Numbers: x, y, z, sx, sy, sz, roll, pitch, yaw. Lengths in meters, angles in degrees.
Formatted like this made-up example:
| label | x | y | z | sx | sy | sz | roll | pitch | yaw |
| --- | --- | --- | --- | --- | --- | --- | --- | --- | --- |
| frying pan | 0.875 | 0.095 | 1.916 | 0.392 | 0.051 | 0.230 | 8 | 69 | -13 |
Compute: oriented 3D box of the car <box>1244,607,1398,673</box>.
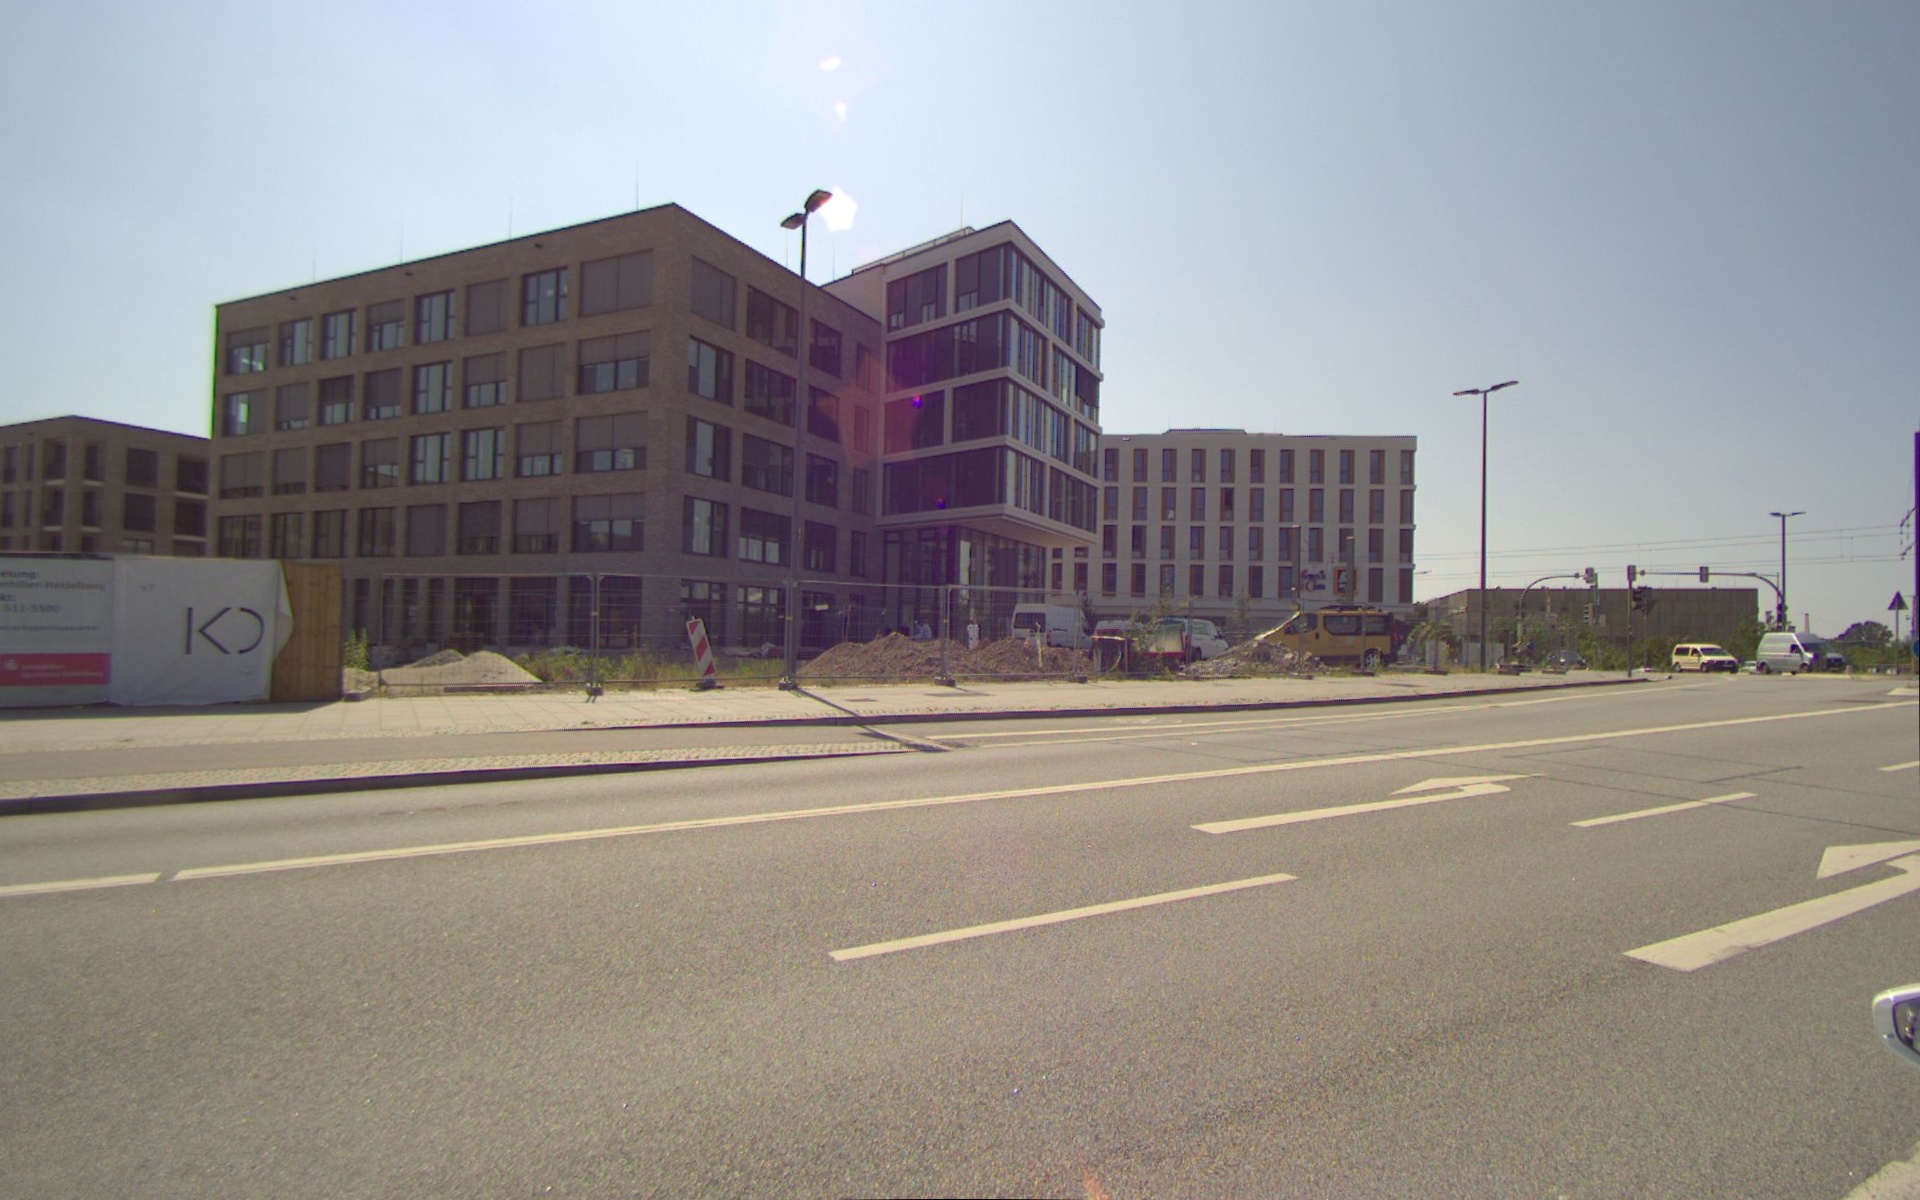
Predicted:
| label | x | y | z | sx | sy | sz | roll | pitch | yaw |
| --- | --- | --- | --- | --- | --- | --- | --- | --- | --- |
| car | 12.044 | 1.294 | 33.797 | 4.533 | 1.988 | 1.991 | 2 | 0 | 9 |

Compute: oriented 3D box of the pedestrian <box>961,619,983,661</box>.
| label | x | y | z | sx | sy | sz | roll | pitch | yaw |
| --- | --- | --- | --- | --- | --- | --- | --- | --- | --- |
| pedestrian | 0.513 | 1.688 | 42.312 | 0.734 | 1.741 | 0.699 | 2 | 0 | 16 |

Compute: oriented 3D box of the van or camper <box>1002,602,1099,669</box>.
| label | x | y | z | sx | sy | sz | roll | pitch | yaw |
| --- | --- | --- | --- | --- | --- | --- | --- | --- | --- |
| van or camper | 4.146 | 1.548 | 45.133 | 2.273 | 2.772 | 4.975 | 2 | 0 | 32 |

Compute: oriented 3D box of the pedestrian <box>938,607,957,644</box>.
| label | x | y | z | sx | sy | sz | roll | pitch | yaw |
| --- | --- | --- | --- | --- | --- | --- | --- | --- | --- |
| pedestrian | -0.608 | 1.231 | 48.906 | 0.734 | 1.741 | 0.699 | 2 | 0 | 16 |

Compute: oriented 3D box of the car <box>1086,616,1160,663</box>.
| label | x | y | z | sx | sy | sz | roll | pitch | yaw |
| --- | --- | --- | --- | --- | --- | --- | --- | --- | --- |
| car | 7.115 | 1.692 | 43.658 | 1.760 | 1.881 | 3.841 | 2 | 0 | 32 |

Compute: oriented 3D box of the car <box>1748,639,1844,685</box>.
| label | x | y | z | sx | sy | sz | roll | pitch | yaw |
| --- | --- | --- | --- | --- | --- | --- | --- | --- | --- |
| car | 48.738 | 3.580 | 58.696 | 1.748 | 2.407 | 5.019 | 1 | -1 | 5 |

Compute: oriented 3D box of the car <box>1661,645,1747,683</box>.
| label | x | y | z | sx | sy | sz | roll | pitch | yaw |
| --- | --- | --- | --- | --- | --- | --- | --- | --- | --- |
| car | 46.142 | 3.921 | 62.451 | 1.960 | 2.040 | 4.719 | 2 | 0 | 2 |

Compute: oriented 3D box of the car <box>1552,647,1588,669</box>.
| label | x | y | z | sx | sy | sz | roll | pitch | yaw |
| --- | --- | --- | --- | --- | --- | --- | --- | --- | --- |
| car | 44.398 | 4.193 | 73.158 | 1.646 | 1.496 | 3.405 | 0 | -1 | 22 |

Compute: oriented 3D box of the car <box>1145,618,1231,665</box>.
| label | x | y | z | sx | sy | sz | roll | pitch | yaw |
| --- | --- | --- | --- | --- | --- | --- | --- | --- | --- |
| car | 9.641 | 1.686 | 42.167 | 1.841 | 1.797 | 4.637 | 2 | 0 | 36 |

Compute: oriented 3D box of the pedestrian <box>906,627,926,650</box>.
| label | x | y | z | sx | sy | sz | roll | pitch | yaw |
| --- | --- | --- | --- | --- | --- | --- | --- | --- | --- |
| pedestrian | -2.095 | 1.818 | 47.510 | 0.734 | 1.041 | 0.699 | 2 | 0 | 16 |
